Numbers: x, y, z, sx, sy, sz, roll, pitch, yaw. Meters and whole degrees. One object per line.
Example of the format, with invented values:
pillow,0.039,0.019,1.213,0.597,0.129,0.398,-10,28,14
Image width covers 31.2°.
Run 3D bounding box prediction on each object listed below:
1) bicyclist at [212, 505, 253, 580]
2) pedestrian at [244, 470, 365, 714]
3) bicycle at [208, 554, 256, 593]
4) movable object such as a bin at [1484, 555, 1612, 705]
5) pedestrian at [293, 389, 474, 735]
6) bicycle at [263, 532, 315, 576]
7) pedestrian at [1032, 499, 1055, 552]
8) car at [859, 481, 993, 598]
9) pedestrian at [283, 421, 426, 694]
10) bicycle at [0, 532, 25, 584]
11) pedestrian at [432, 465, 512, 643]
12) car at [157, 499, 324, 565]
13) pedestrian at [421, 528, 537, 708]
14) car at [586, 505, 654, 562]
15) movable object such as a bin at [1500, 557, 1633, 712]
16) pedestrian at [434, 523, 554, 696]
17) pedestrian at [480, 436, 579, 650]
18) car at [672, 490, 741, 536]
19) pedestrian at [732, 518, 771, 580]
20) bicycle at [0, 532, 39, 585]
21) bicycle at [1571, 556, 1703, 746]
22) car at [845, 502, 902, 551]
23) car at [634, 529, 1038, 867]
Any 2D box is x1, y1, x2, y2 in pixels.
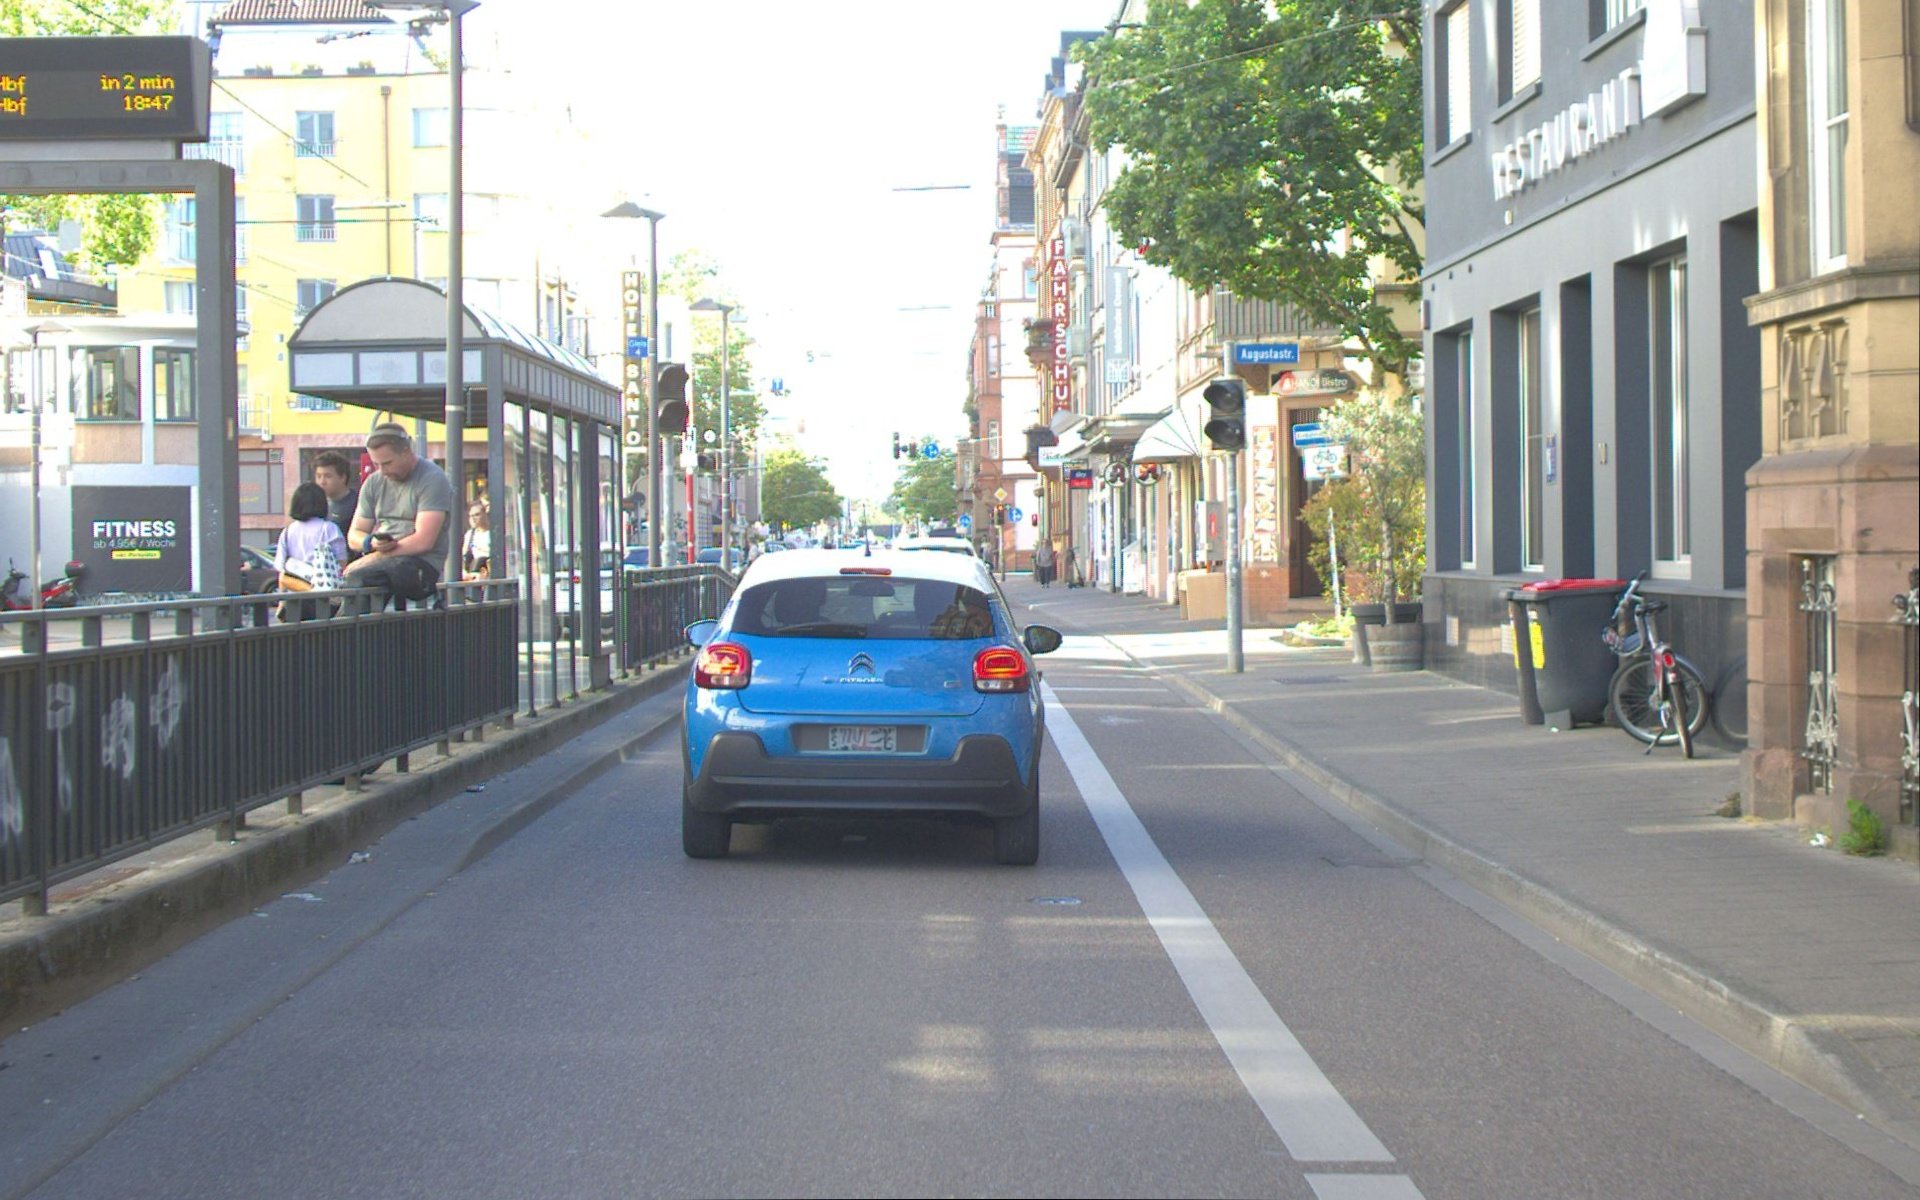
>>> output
bicyclist,-15.161,-1.202,71.615,0.672,1.551,0.778,0,2,0
pedestrian,-4.249,-0.061,22.280,0.586,1.556,0.469,1,2,35
bicycle,-15.151,-0.557,71.607,0.566,0.755,1.938,0,2,0
movable object such as a bin,4.342,0.214,25.407,0.748,1.033,0.754,-4,1,0
pedestrian,-2.901,-0.192,17.380,0.636,1.692,0.933,1,0,7
bicycle,-15.902,-1.102,81.534,0.679,0.999,2.686,0,2,0
pedestrian,2.623,-2.352,108.581,0.693,1.645,0.680,0,2,-1
car,-0.539,-0.946,54.264,1.993,1.737,4.000,1,1,-1
pedestrian,-4.010,-0.287,22.768,0.718,1.771,0.564,1,2,35
bicycle,-17.800,-0.755,62.784,0.392,0.937,1.492,1,2,35
pedestrian,-4.311,-0.412,30.390,0.621,1.553,0.568,0,1,0
car,-18.533,-1.770,88.686,3.986,1.669,1.958,0,2,-4
pedestrian,-3.476,0.122,24.895,0.711,1.268,0.657,-1,2,2
car,-10.142,-2.021,102.885,1.752,1.609,4.828,-2,2,-3
movable object such as a bin,4.342,0.237,24.649,0.748,1.033,0.754,-4,1,0
pedestrian,-3.496,0.063,25.824,0.764,1.268,0.719,-1,2,2
pedestrian,-3.569,-0.479,28.478,0.563,1.744,0.719,-2,2,-29
car,-8.664,-2.993,117.784,1.951,1.481,4.000,-2,2,1
pedestrian,-5.600,-1.384,92.380,0.838,1.648,0.697,-1,2,-29
bicycle,-17.473,-0.755,62.524,0.392,0.937,1.492,1,2,35
bicycle,4.296,0.301,21.906,0.459,1.119,1.773,-2,2,0
car,-3.184,-2.699,127.108,1.993,1.737,4.000,1,1,-1
car,-0.572,0.402,17.219,1.781,1.446,3.654,1,2,-1
